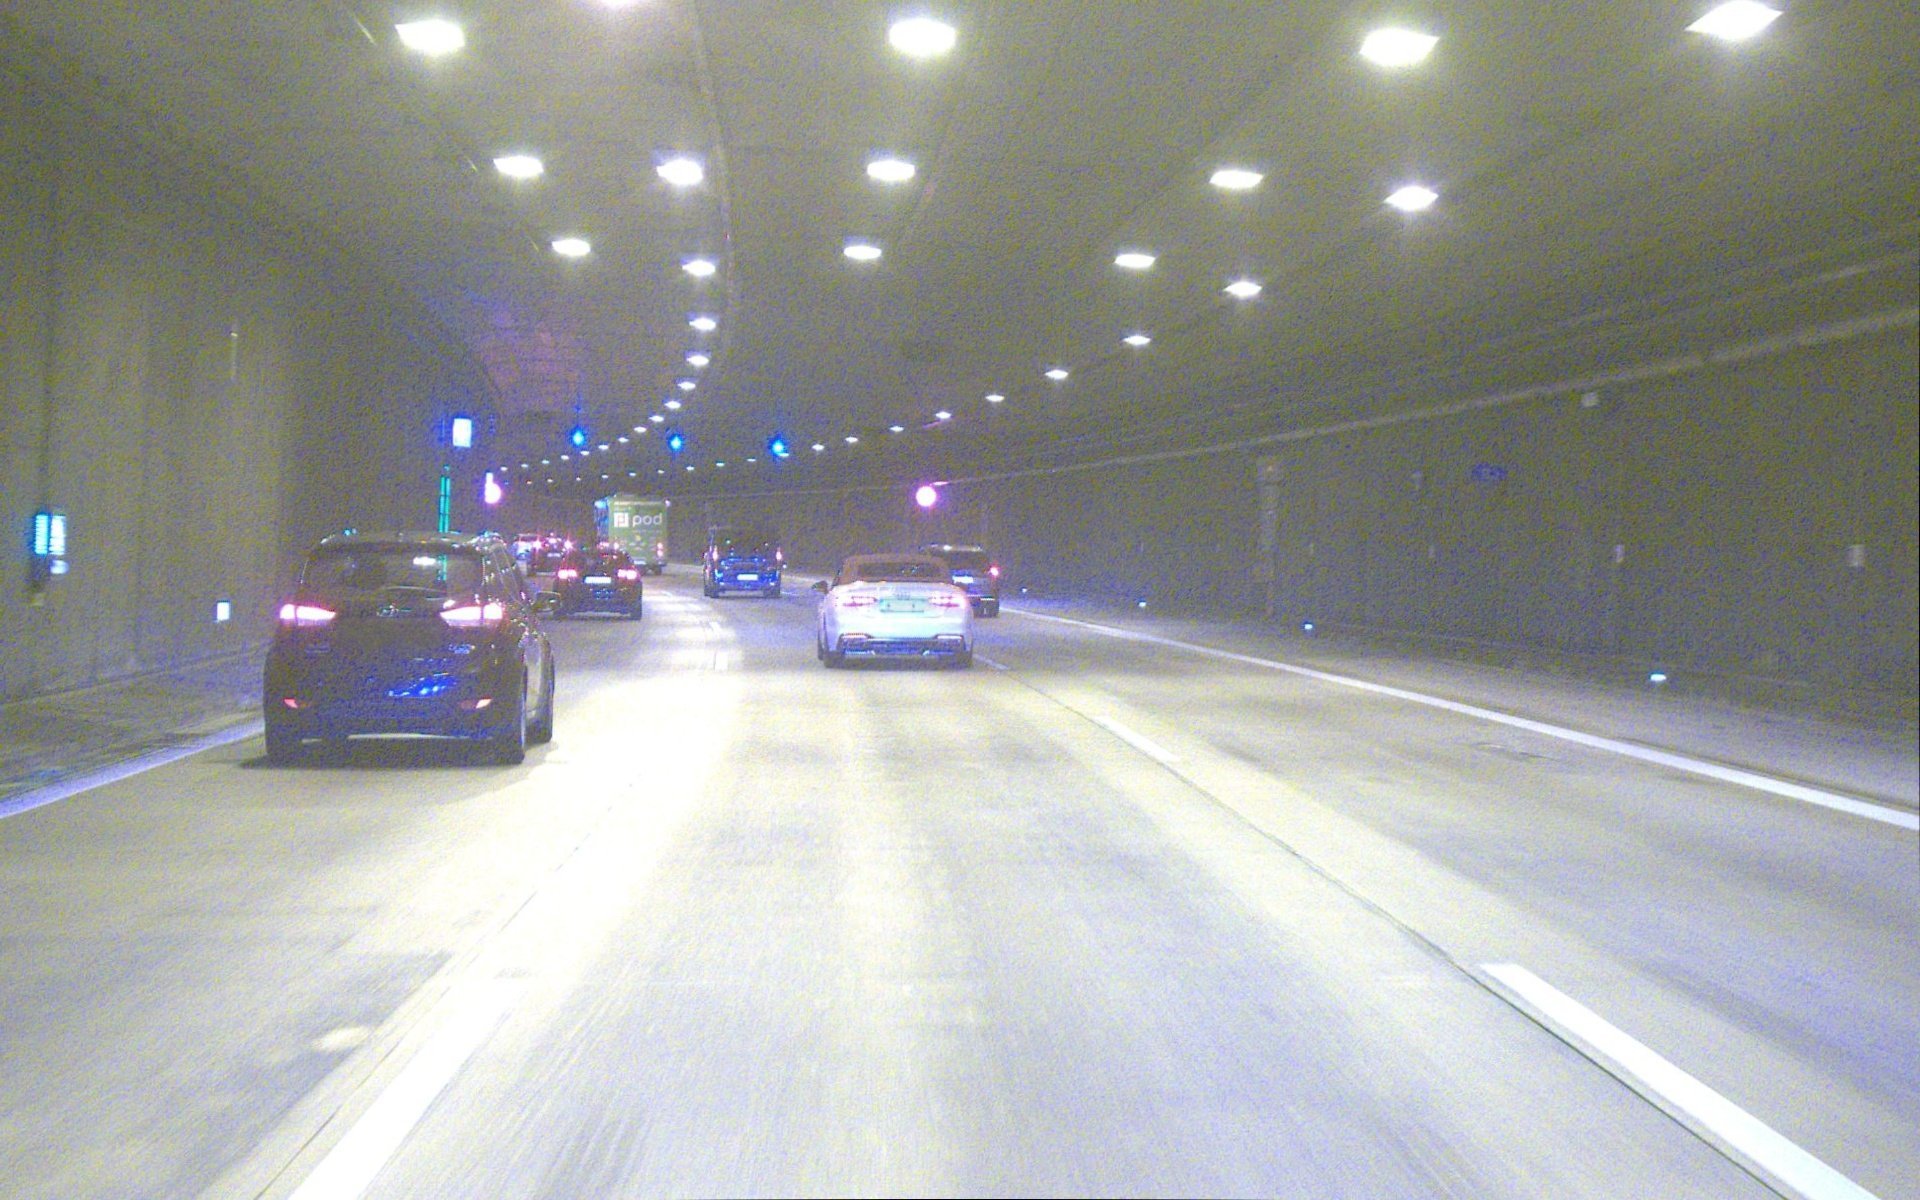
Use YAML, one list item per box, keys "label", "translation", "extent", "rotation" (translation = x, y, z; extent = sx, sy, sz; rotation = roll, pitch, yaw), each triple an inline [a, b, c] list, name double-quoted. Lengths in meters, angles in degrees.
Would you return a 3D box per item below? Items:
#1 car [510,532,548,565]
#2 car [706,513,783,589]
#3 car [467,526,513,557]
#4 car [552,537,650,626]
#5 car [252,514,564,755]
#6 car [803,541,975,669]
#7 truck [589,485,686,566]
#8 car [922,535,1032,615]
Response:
- label: "car"
  translation: [-23.919, -2.835, 190.701]
  extent: [1.993, 1.748, 4.001]
  rotation: [2, 0, -9]
- label: "car"
  translation: [-5.758, -1.312, 91.672]
  extent: [1.993, 1.965, 4.001]
  rotation: [0, 1, -4]
- label: "car"
  translation: [-23.771, -2.952, 173.654]
  extent: [1.993, 1.525, 4.001]
  rotation: [2, 0, -12]
- label: "car"
  translation: [-7.069, -0.378, 68.004]
  extent: [1.800, 1.678, 4.001]
  rotation: [1, 1, -5]
- label: "car"
  translation: [-3.895, 0.196, 24.807]
  extent: [1.785, 1.593, 3.802]
  rotation: [1, 1, -2]
- label: "car"
  translation: [-0.840, 0.024, 42.933]
  extent: [1.993, 1.478, 4.000]
  rotation: [1, 1, 1]
- label: "truck"
  translation: [-13.231, -3.101, 140.467]
  extent: [3.082, 3.102, 10.032]
  rotation: [2, 2, -10]
- label: "car"
  translation: [0.323, -0.546, 72.092]
  extent: [1.839, 1.597, 4.001]
  rotation: [1, 1, -6]
